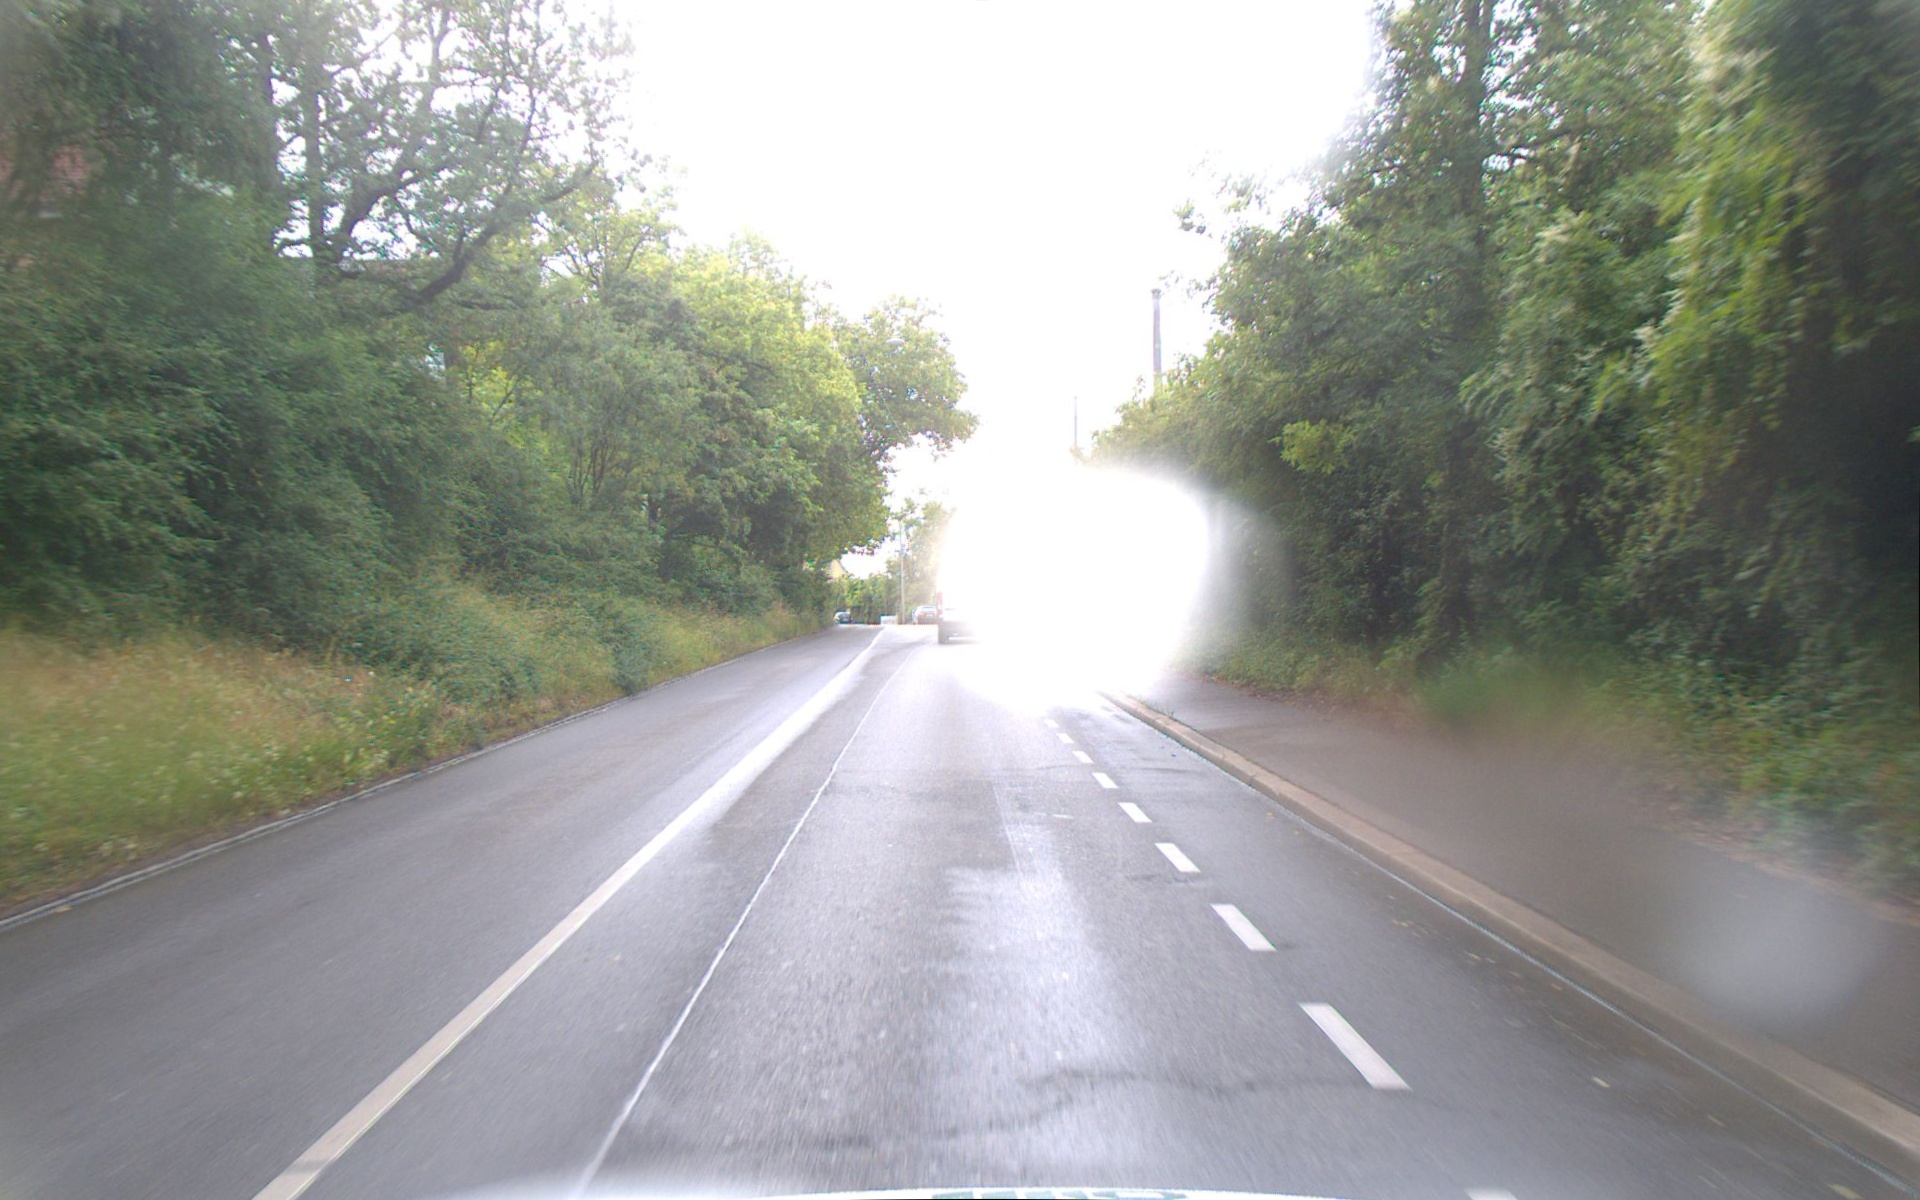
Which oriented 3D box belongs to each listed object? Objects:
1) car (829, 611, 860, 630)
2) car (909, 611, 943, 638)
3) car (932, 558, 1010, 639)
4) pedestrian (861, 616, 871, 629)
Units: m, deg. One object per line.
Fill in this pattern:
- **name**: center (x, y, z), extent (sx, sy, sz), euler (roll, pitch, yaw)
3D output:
- **car**: center (-10.944, 1.934, 156.501), extent (2.075, 1.741, 4.697), euler (1, 0, -14)
- **car**: center (-2.420, 1.730, 119.064), extent (2.191, 1.836, 4.714), euler (1, 0, 2)
- **car**: center (0.272, -0.041, 49.652), extent (2.192, 2.252, 4.712), euler (1, 0, -1)
- **pedestrian**: center (-10.271, 2.465, 180.882), extent (0.863, 1.391, 1.062), euler (1, 0, -12)
